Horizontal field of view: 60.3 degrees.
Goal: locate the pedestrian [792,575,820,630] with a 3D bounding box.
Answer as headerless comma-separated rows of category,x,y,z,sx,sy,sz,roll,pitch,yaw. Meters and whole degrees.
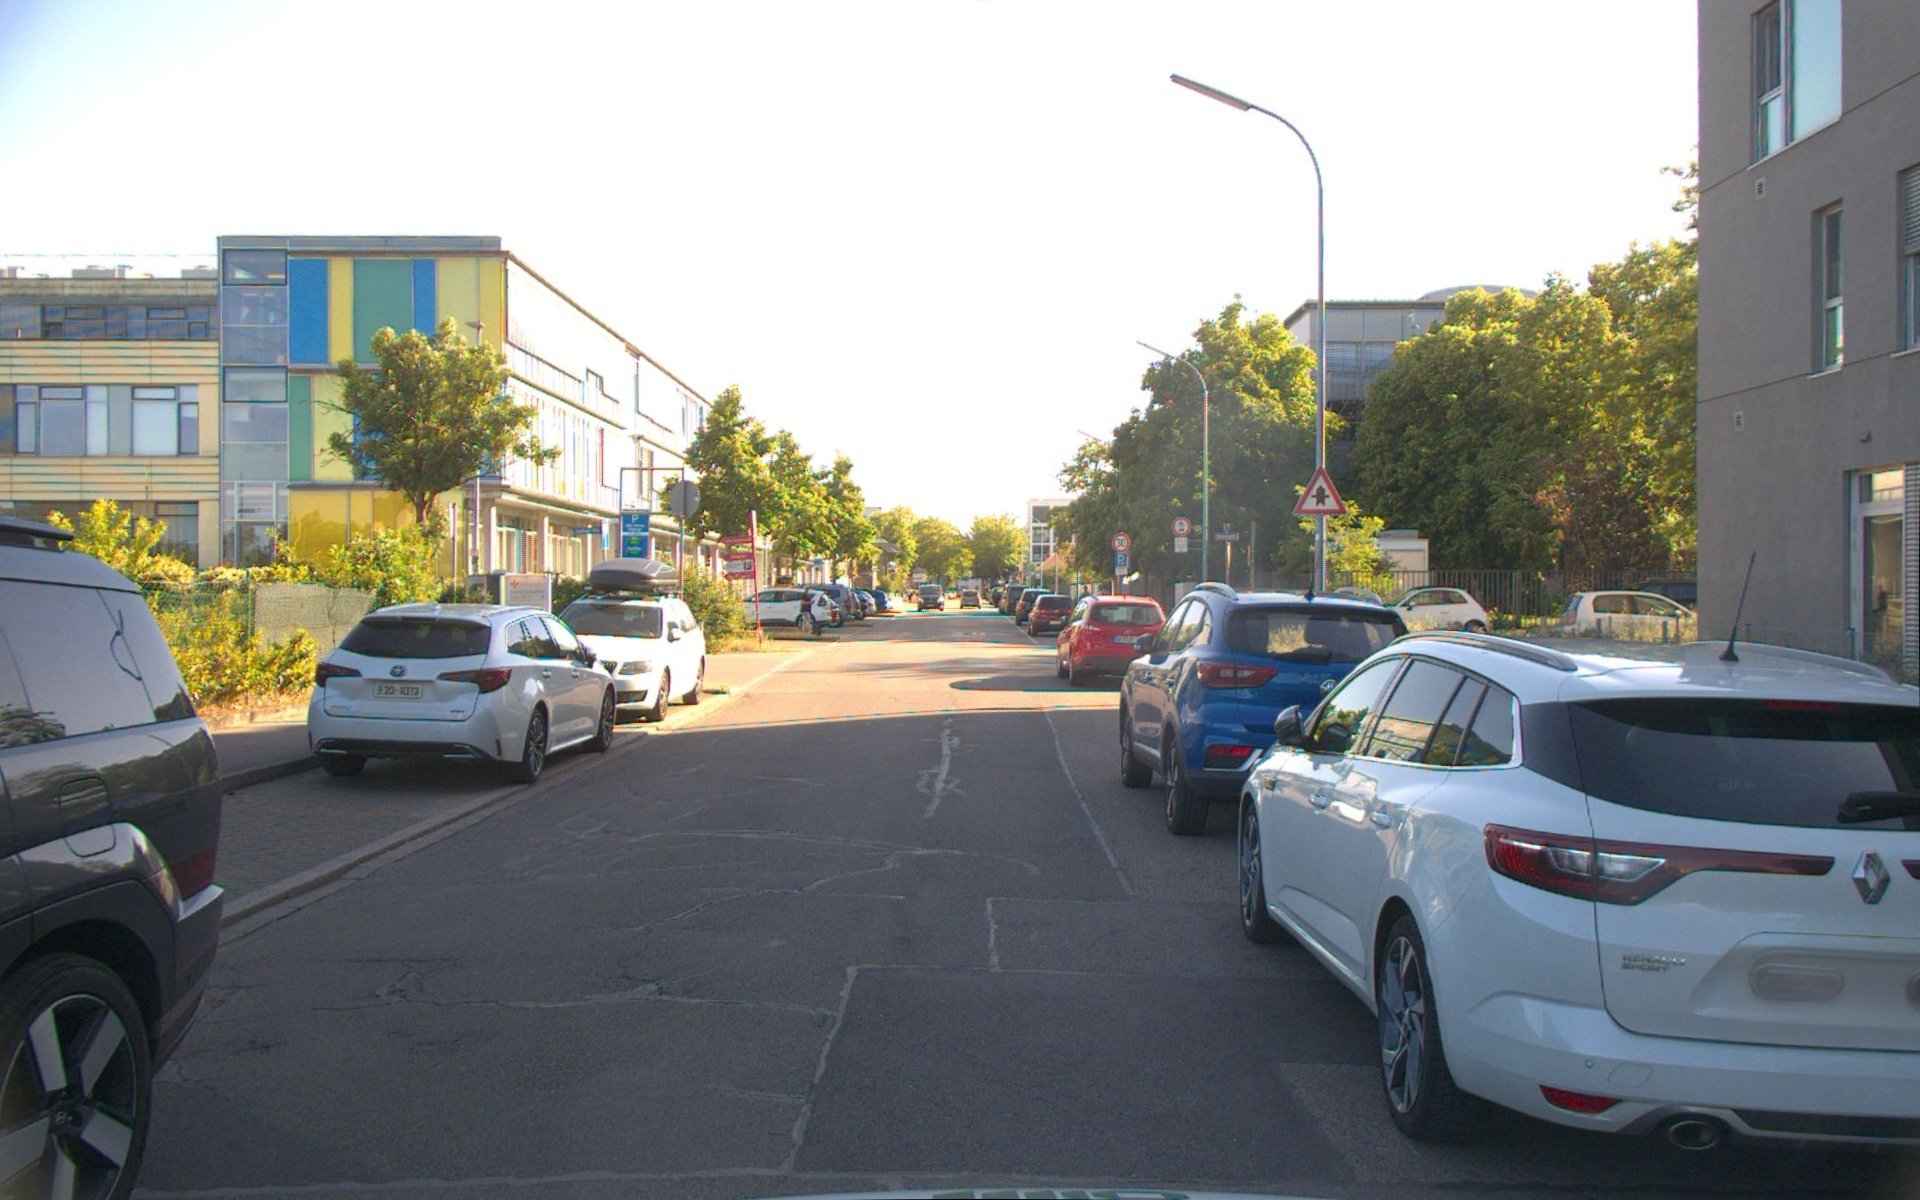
pedestrian,-5.350,0.077,57.534,0.840,1.874,0.826,2,0,2

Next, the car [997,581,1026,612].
car,3.540,-0.249,114.599,1.836,2.013,4.000,-1,0,0

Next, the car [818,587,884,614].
car,-6.989,0.020,106.015,4.130,1.631,1.871,1,0,-4

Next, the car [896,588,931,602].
car,-5.357,-0.581,189.655,3.905,1.546,2.000,0,-1,0

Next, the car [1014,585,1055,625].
car,3.454,0.216,77.150,1.774,1.695,4.593,1,1,1

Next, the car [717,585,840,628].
car,-7.101,0.253,64.990,4.515,1.680,1.868,0,0,3

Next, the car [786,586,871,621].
car,-6.591,0.187,83.229,4.162,1.640,2.047,1,0,-4

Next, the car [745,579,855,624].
car,-7.053,0.055,73.280,4.645,1.897,1.828,1,0,0

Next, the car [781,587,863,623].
car,-6.677,0.242,80.274,3.908,1.635,1.871,1,0,-4

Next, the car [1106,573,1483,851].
car,2.221,0.662,12.287,1.780,1.627,4.627,2,0,-1

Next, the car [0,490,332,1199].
car,-2.985,0.669,2.593,1.902,1.757,4.840,-1,0,3

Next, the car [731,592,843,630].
car,-7.049,0.447,67.632,4.342,1.527,1.827,0,0,0

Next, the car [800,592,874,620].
car,-6.616,0.301,88.920,3.908,1.382,1.742,1,0,-4

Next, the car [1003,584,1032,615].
car,3.537,-0.043,102.111,1.697,1.862,3.905,0,0,1

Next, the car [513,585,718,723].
car,-4.325,0.616,21.455,1.661,1.540,4.517,2,0,0

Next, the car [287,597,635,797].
car,-4.311,0.747,15.075,1.711,1.471,4.541,2,0,1

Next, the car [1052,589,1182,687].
car,2.640,0.602,28.757,1.782,1.526,4.452,2,0,0

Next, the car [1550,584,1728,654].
car,14.898,0.401,36.407,3.256,1.484,1.716,0,0,5

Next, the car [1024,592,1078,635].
car,3.340,0.460,61.109,1.685,1.480,4.651,1,0,0

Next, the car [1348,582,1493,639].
car,12.431,0.278,44.768,3.473,1.512,1.600,0,0,1

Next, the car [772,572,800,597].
car,-15.218,-1.343,144.818,1.953,2.049,3.999,0,-1,0

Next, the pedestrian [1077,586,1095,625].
pedestrian,5.882,0.259,77.385,0.703,1.788,0.885,-2,0,1

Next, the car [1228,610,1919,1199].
car,2.185,0.811,6.008,1.709,1.454,4.586,2,0,1

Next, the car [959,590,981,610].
car,0.816,0.019,132.166,1.708,1.570,4.000,0,0,0

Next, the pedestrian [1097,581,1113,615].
pedestrian,7.428,-0.120,84.720,0.684,1.690,0.752,-3,0,0

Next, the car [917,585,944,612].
car,-2.129,-0.127,120.629,1.915,1.900,5.254,0,0,-1
